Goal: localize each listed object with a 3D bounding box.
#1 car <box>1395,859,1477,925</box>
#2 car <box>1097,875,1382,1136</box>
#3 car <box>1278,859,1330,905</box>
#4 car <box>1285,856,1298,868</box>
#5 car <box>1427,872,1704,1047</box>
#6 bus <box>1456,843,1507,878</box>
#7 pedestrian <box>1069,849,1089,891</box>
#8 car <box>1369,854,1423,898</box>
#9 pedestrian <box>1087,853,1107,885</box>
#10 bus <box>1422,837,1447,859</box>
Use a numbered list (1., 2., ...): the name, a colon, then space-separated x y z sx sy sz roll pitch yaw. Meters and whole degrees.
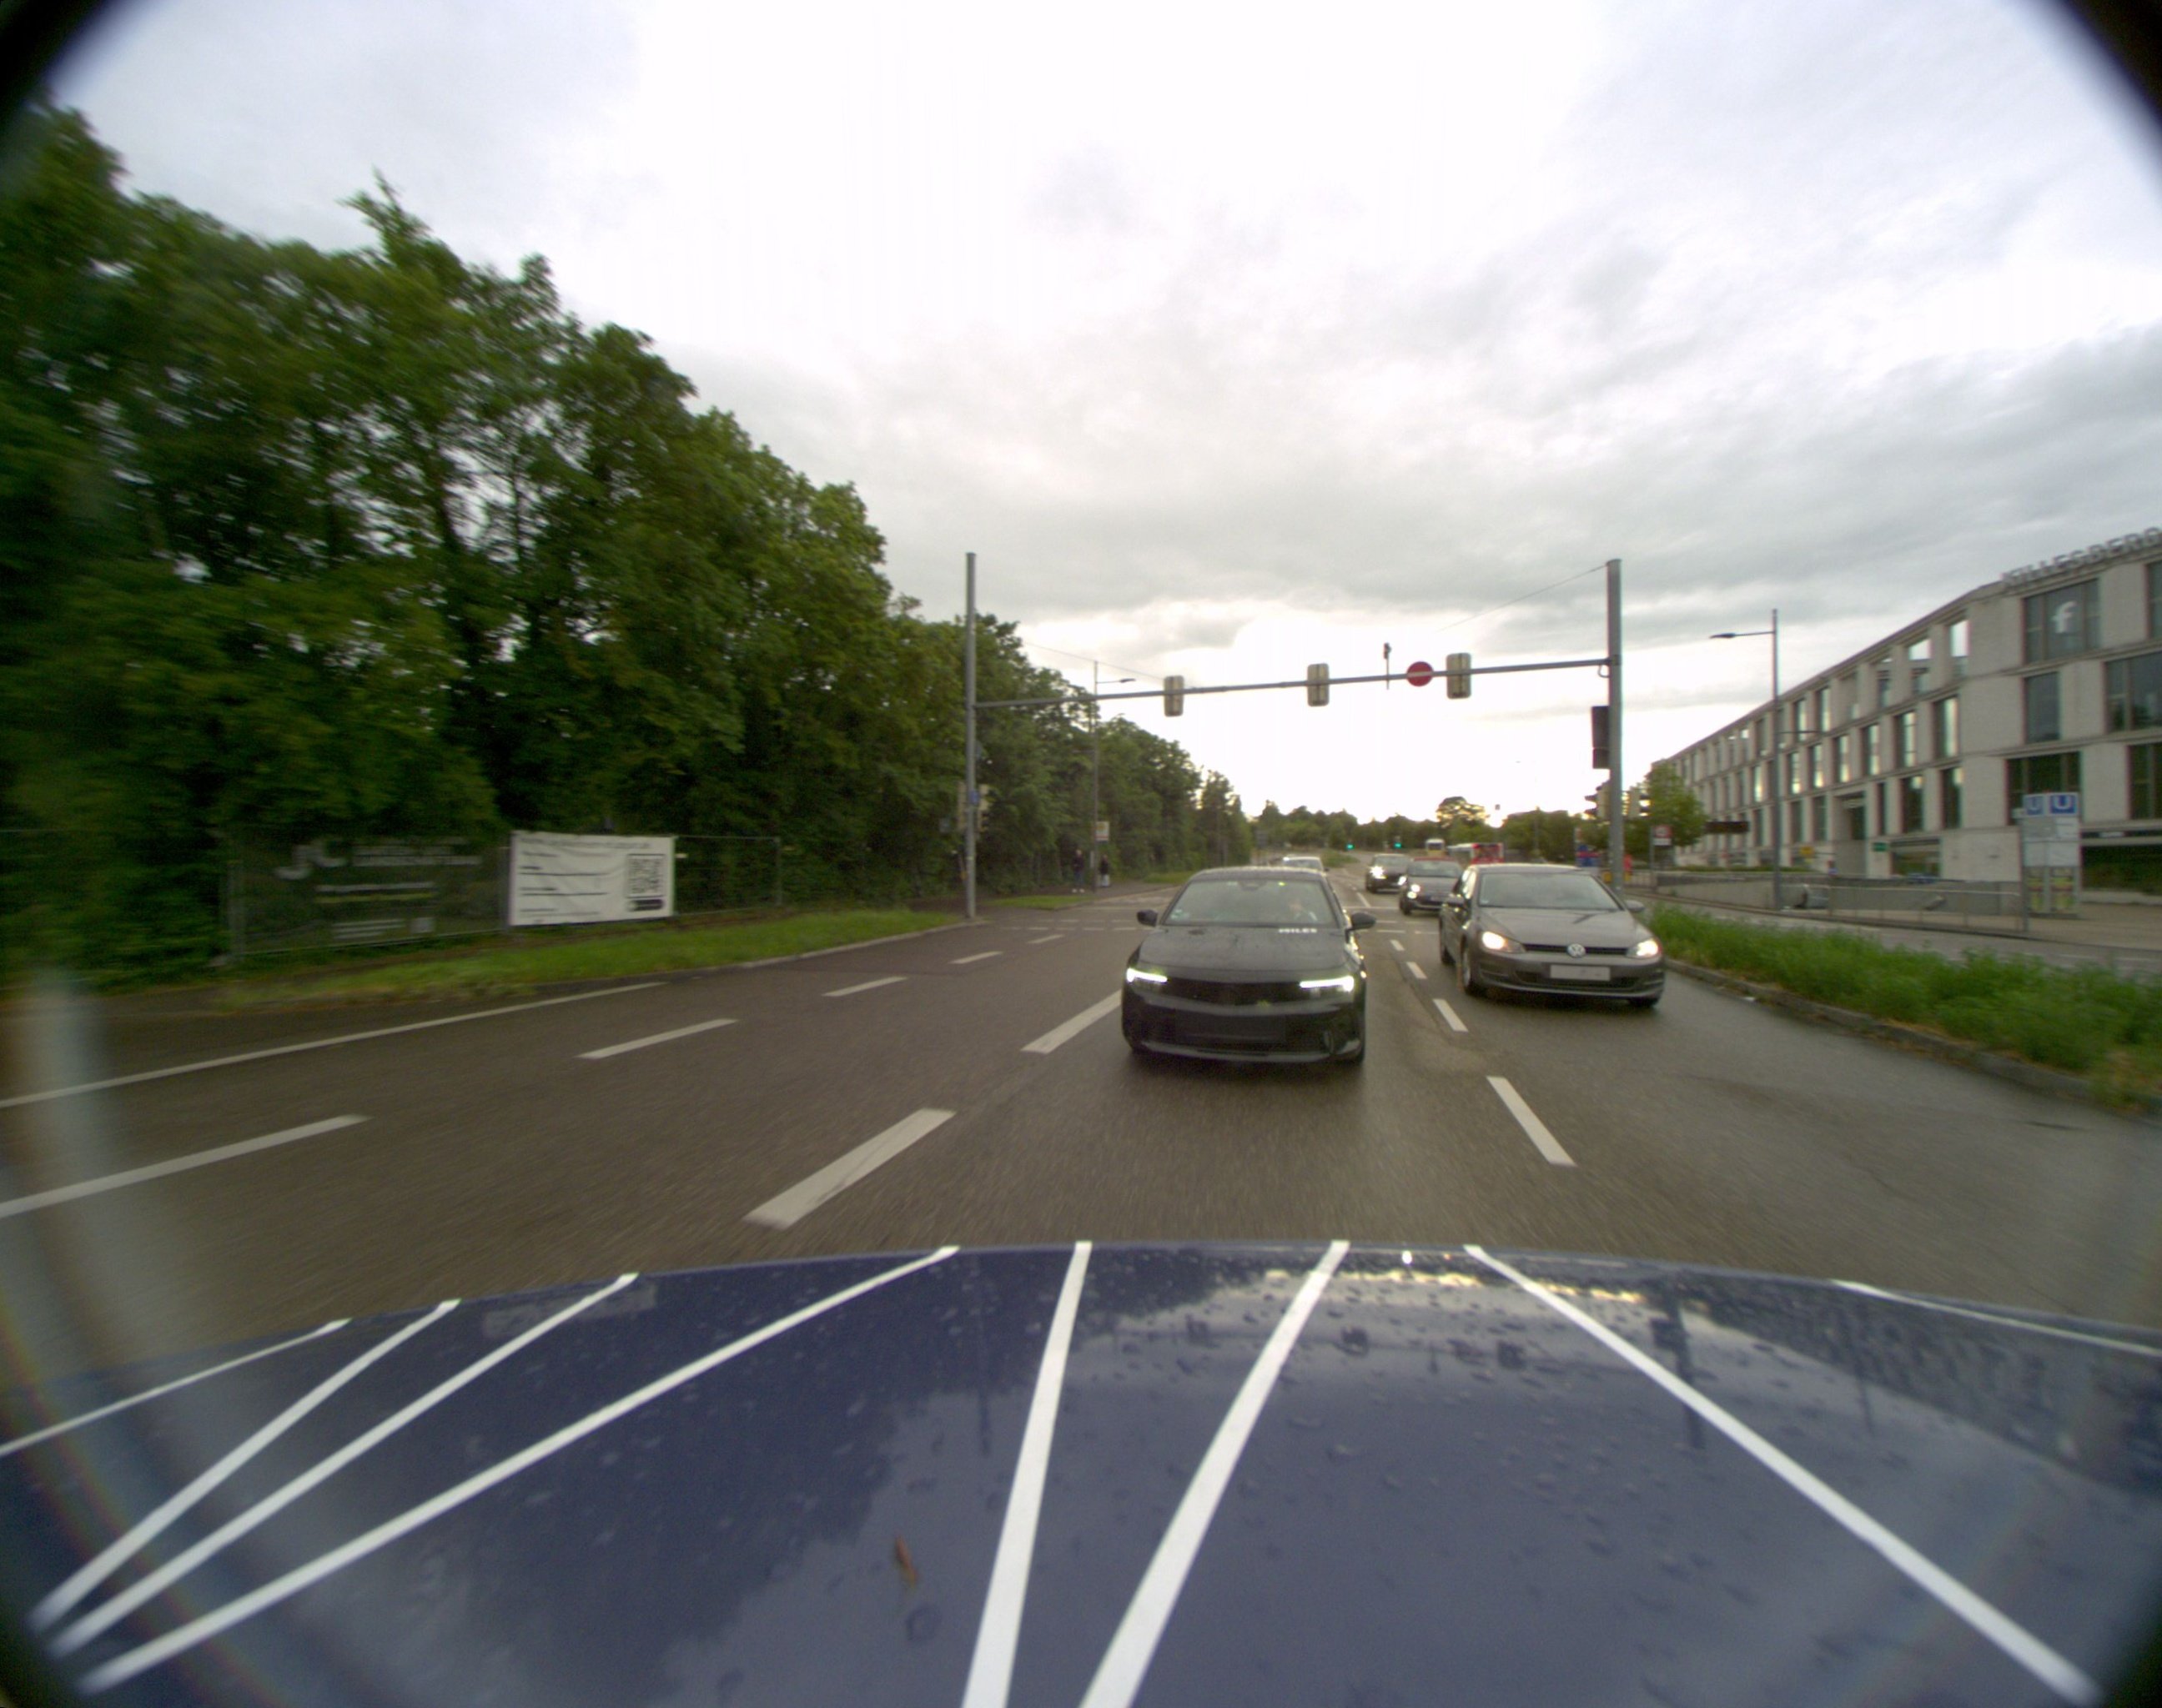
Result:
1. car: 9.431 0.940 20.415 1.667 1.521 3.662 0 1 20
2. car: 1.625 1.021 7.131 1.802 1.422 4.525 -1 1 16
3. car: 8.109 0.947 27.458 1.642 1.512 3.584 0 0 19
4. car: 35.364 1.288 127.792 1.996 2.002 4.004 1 0 14
5. car: 5.352 1.001 9.028 1.902 1.431 4.006 1 1 19
6. bus: 37.384 0.541 71.247 2.875 2.971 10.020 0 0 20
7. pedestrian: -0.094 0.712 34.405 0.676 1.872 0.700 1 1 19
8. car: 13.490 0.882 32.754 1.903 1.761 4.006 0 0 19
9. pedestrian: 0.847 0.768 39.692 0.820 1.666 0.833 0 1 19
10. bus: 58.478 -0.932 125.831 2.811 3.495 9.155 0 0 19
